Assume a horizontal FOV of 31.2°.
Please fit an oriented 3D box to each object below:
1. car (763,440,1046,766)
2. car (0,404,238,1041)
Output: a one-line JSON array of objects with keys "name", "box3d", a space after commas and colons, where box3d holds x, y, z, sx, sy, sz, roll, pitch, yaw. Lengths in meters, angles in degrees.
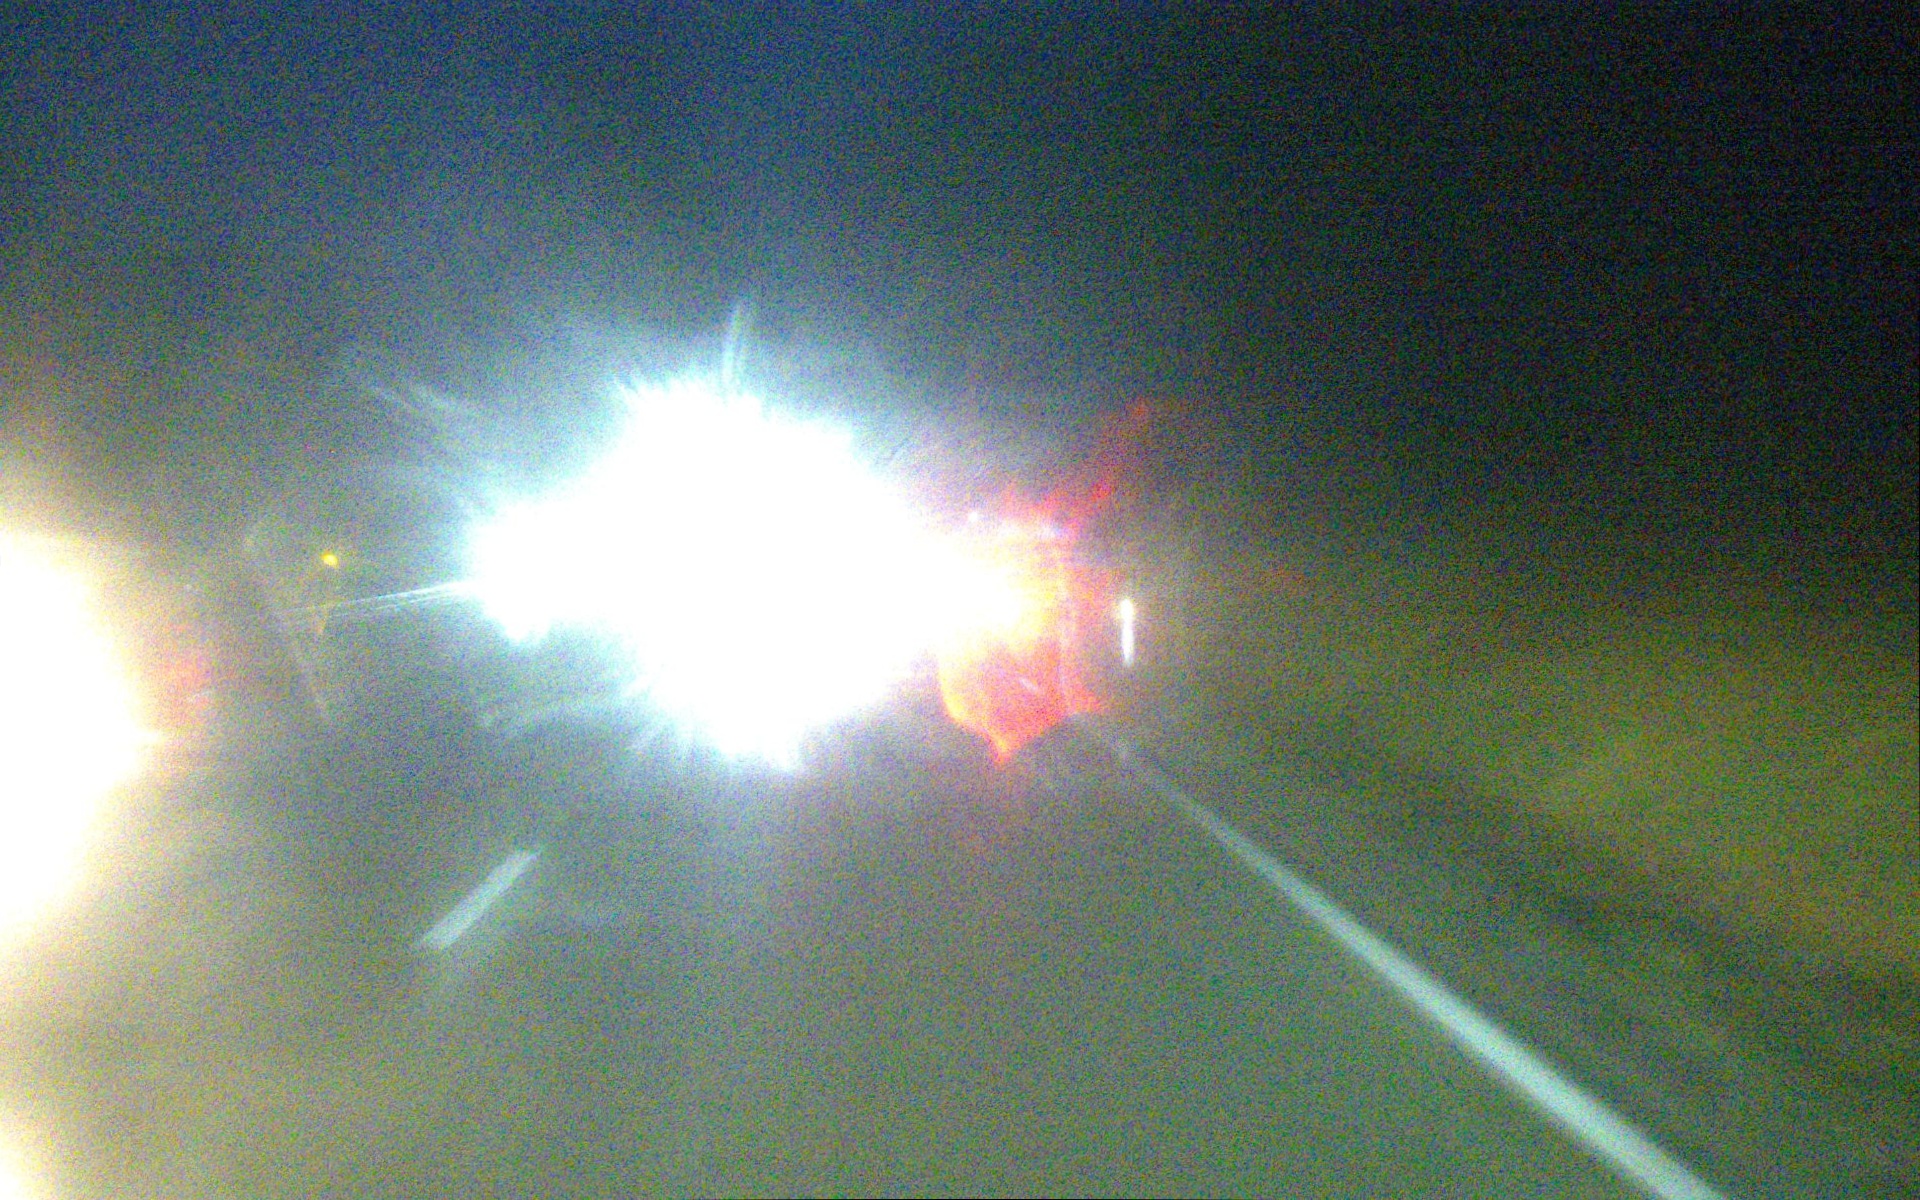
[{"name": "car", "box3d": [-0.455, -0.074, 30.202, 2.181, 2.548, 4.508, 3, 2, 0]}, {"name": "car", "box3d": [-3.757, 0.285, 11.699, 1.836, 1.837, 4.001, -1, 3, -2]}]
